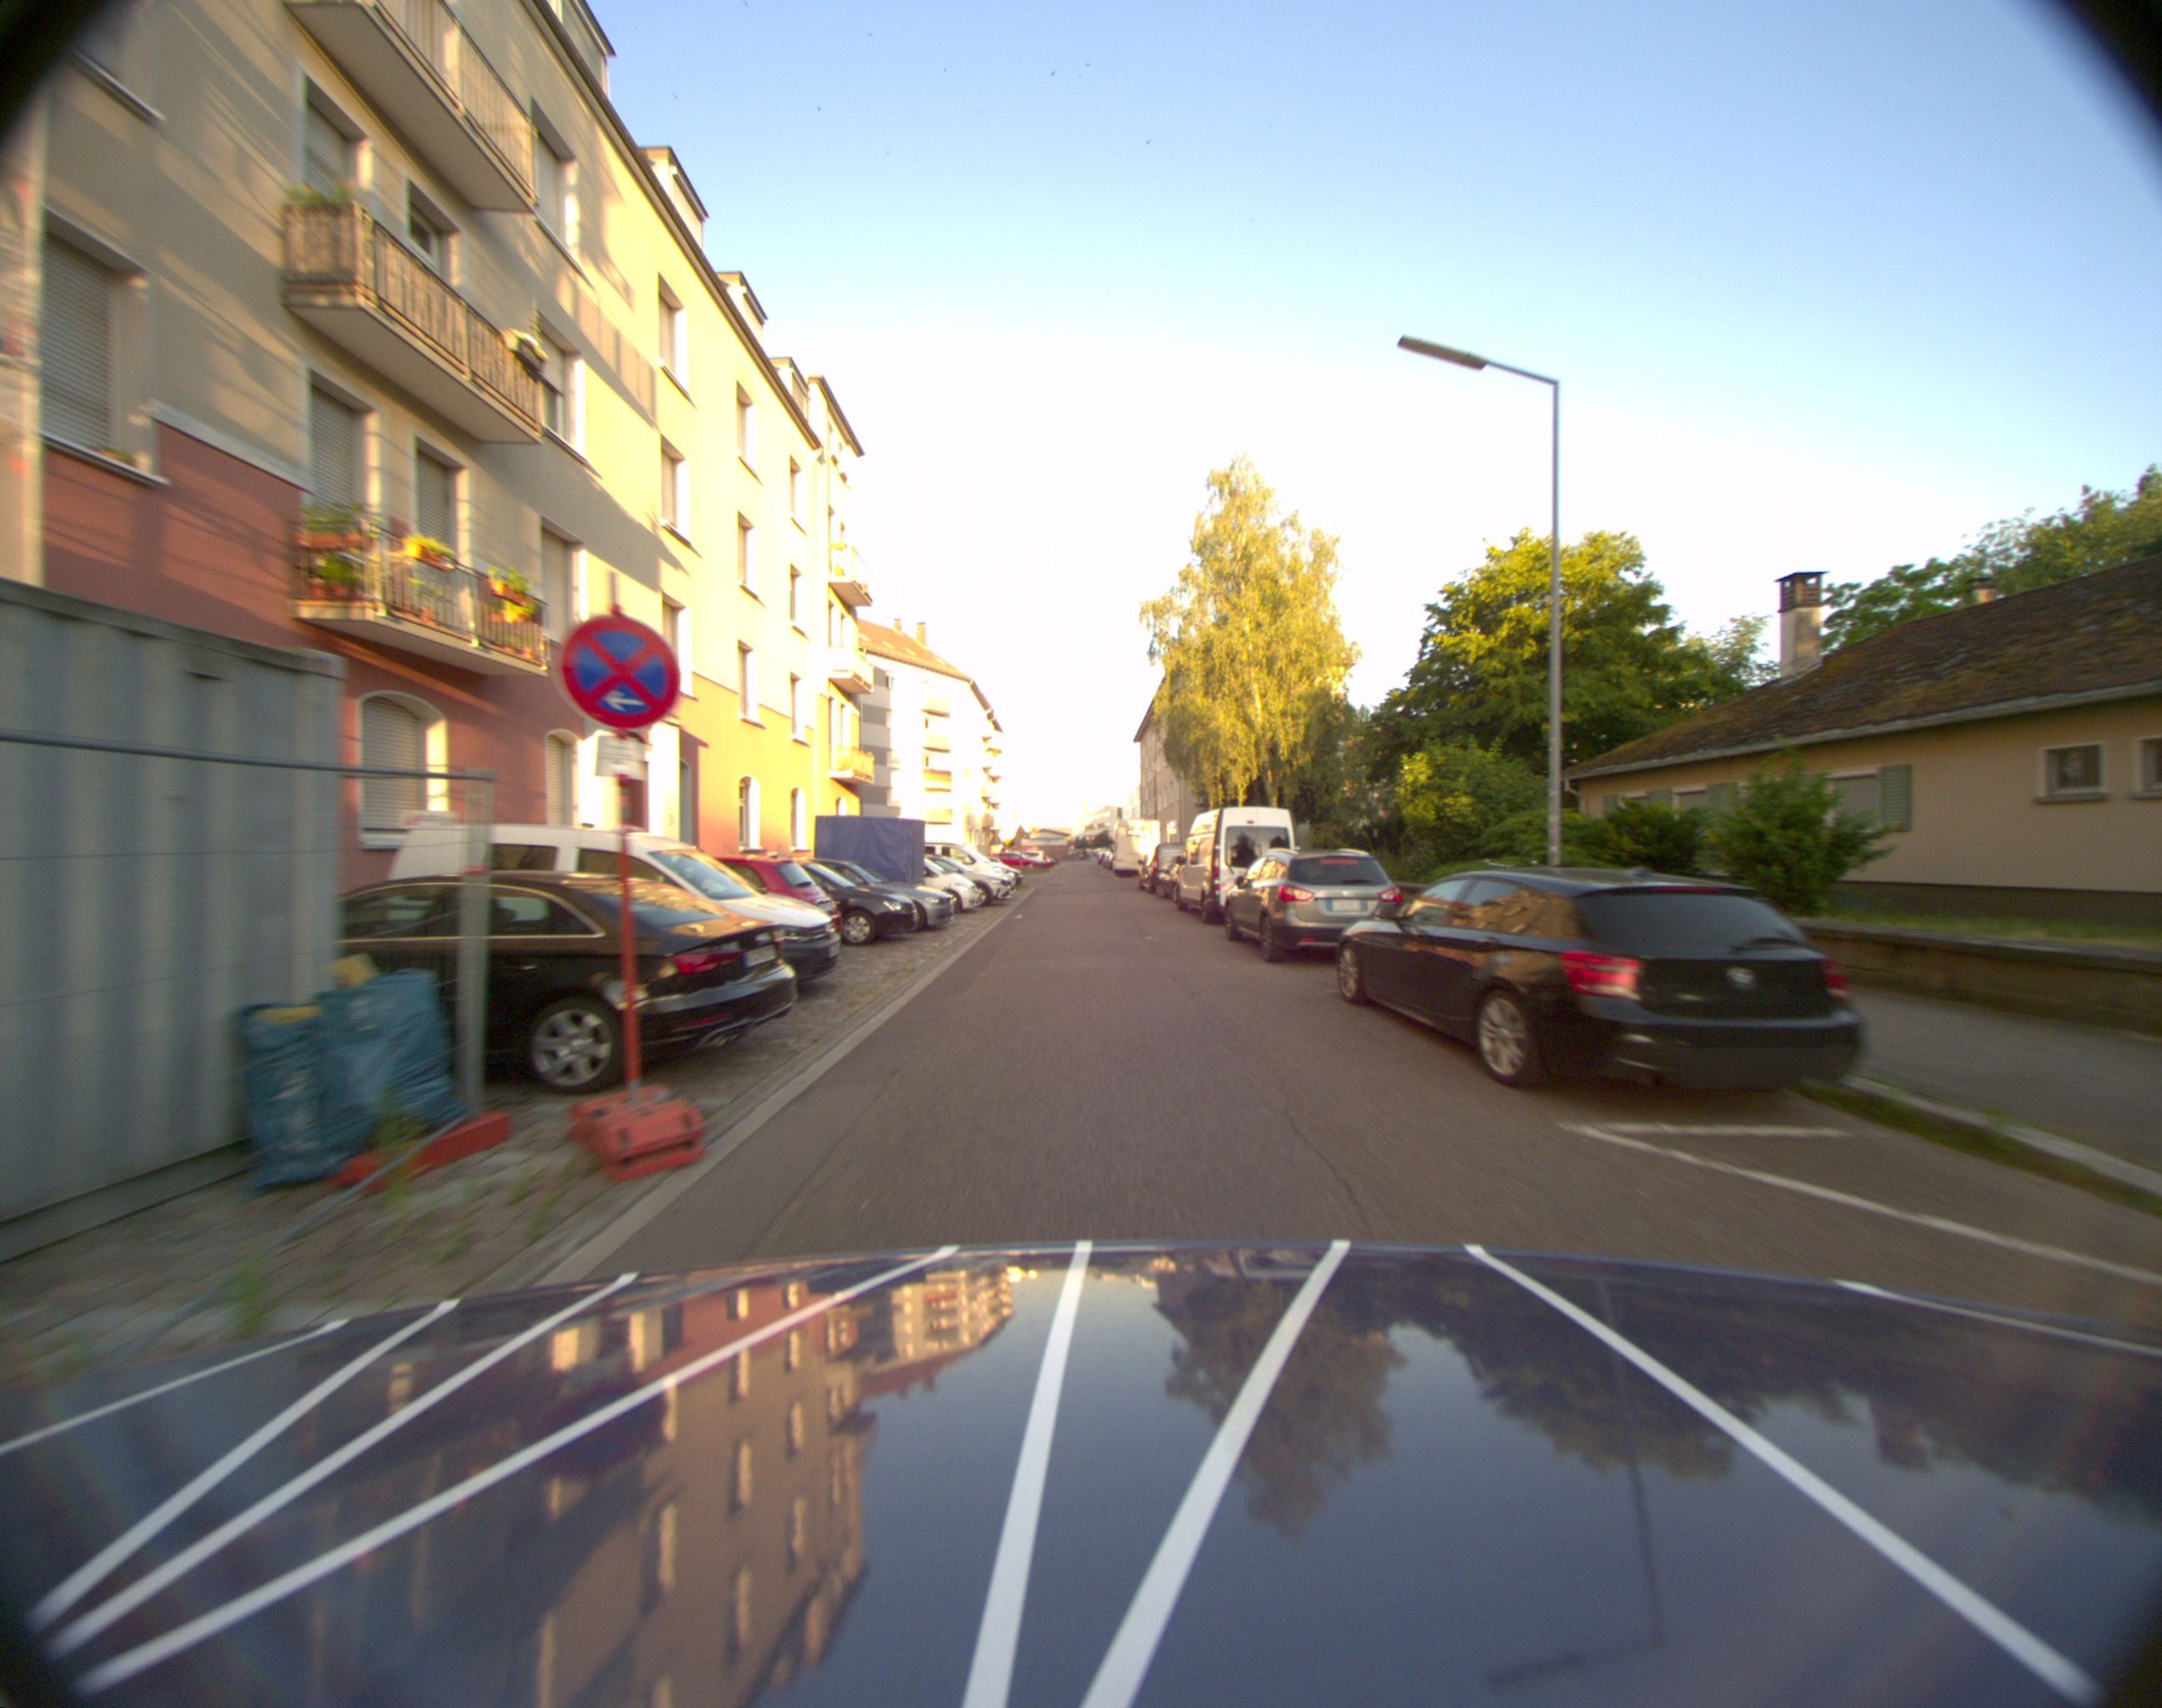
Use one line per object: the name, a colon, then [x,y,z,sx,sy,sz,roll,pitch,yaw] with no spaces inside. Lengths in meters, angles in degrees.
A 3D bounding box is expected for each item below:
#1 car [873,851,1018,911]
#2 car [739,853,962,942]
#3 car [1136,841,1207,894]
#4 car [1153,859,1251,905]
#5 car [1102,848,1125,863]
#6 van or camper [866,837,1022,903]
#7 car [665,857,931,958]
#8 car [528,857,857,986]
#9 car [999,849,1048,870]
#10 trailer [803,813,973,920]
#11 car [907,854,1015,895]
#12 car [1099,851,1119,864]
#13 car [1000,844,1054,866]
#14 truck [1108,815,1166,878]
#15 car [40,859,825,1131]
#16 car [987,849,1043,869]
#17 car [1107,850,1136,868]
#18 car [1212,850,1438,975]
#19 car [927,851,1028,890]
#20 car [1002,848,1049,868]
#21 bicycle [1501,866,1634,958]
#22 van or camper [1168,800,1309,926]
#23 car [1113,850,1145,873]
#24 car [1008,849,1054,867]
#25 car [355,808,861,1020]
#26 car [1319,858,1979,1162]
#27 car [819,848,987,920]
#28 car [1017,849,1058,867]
car: [-3.967,0.761,22.848,3.998,1.630,1.999,-1,1,-2]
car: [-4.570,0.837,15.583,3.998,1.628,1.902,-1,1,-3]
car: [3.272,0.453,28.413,1.915,1.777,4.948,0,0,-1]
car: [3.572,0.777,23.176,1.999,1.182,4.034,-1,1,-5]
car: [3.353,0.175,79.133,1.999,1.436,4.431,-1,0,-2]
van or camper: [-4.504,0.508,25.573,4.846,2.084,2.040,-1,1,-1]
car: [-4.769,0.870,13.278,3.975,1.563,1.788,-1,1,-3]
car: [-5.281,0.872,10.727,3.702,1.601,1.744,-1,1,-2]
car: [-4.821,0.446,63.724,3.998,1.652,1.999,-1,1,-2]
trailer: [-4.479,0.290,18.101,3.577,2.323,1.940,1,1,-3]
car: [-4.684,0.785,30.137,3.998,1.521,1.999,-1,1,-2]
car: [3.276,0.400,89.751,1.999,1.481,4.431,-1,0,-2]
car: [-4.866,0.086,69.066,4.685,1.988,2.000,-1,1,0]
truck: [3.216,-0.445,45.682,2.532,3.334,8.015,2,0,-2]
car: [-4.302,0.879,5.590,4.163,1.606,1.872,-1,1,1]
car: [-5.262,0.420,61.135,4.311,1.532,1.923,-1,1,1]
car: [3.259,0.392,62.404,1.999,1.436,4.431,-1,0,-2]
car: [3.457,0.714,11.866,1.998,1.510,4.788,-1,1,0]
car: [-4.378,0.688,32.530,4.113,1.576,1.854,-1,1,-3]
car: [-4.827,0.340,66.161,3.998,1.619,1.784,-1,1,-3]
bicycle: [6.737,0.752,10.654,0.545,1.111,1.955,-2,0,-2]
van or camper: [3.445,0.168,17.982,1.999,2.442,6.082,-1,0,0]
car: [3.290,0.483,52.691,1.911,1.468,4.909,2,0,0]
car: [-4.721,0.378,71.665,3.995,1.630,2.001,-1,1,7]
car: [-4.798,0.614,8.290,4.278,1.968,1.821,2,0,-5]
car: [3.542,0.799,5.976,1.998,1.444,4.287,-1,1,0]
car: [-4.617,0.747,20.207,3.998,1.718,1.999,-1,2,-2]
car: [-4.365,0.392,76.842,3.996,1.674,2.000,-1,1,3]
